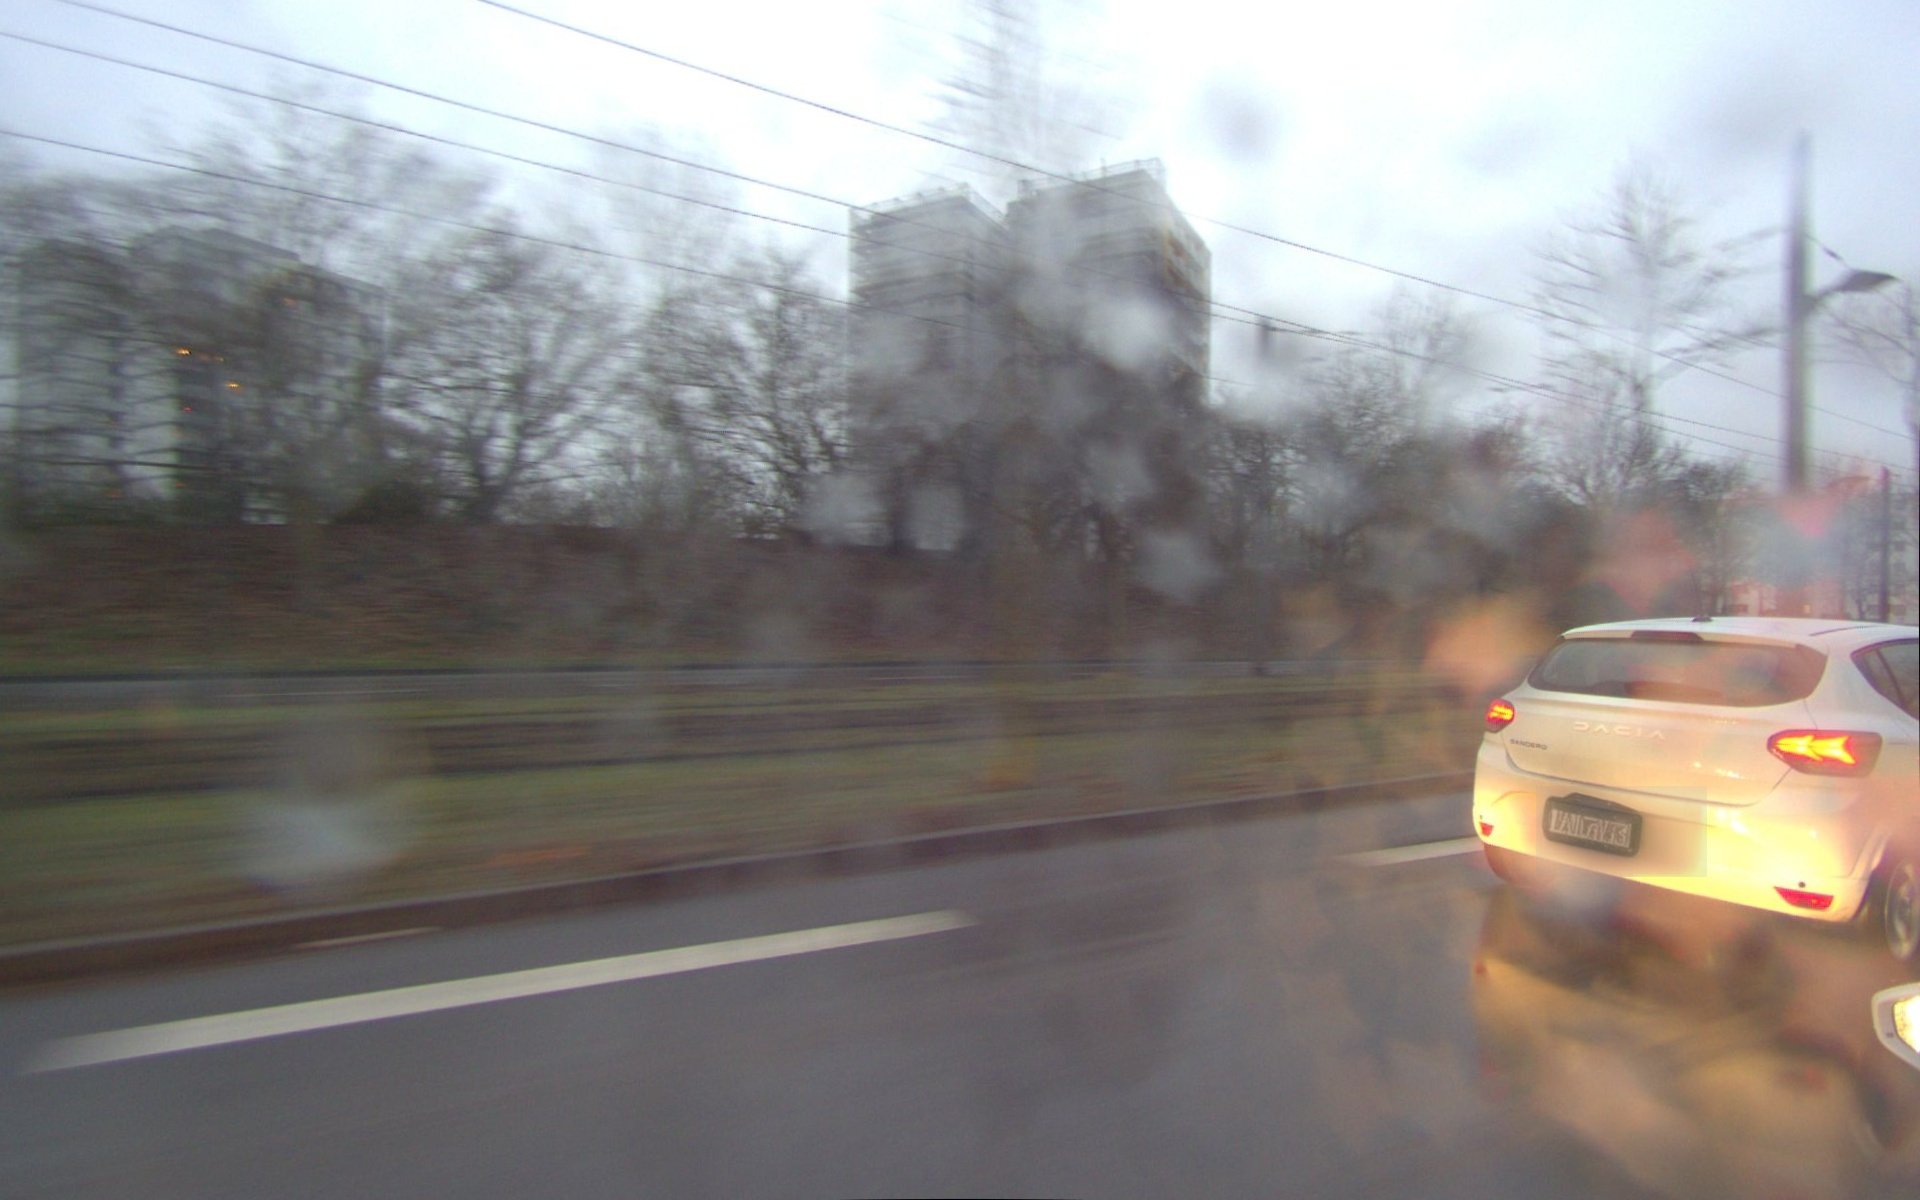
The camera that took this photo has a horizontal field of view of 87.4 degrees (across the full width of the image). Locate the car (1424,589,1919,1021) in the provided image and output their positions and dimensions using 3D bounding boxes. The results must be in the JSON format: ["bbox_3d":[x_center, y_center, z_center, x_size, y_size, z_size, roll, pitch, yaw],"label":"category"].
[{"bbox_3d":[4.525,0.785,5.384,4.087,1.545,1.700,1,-1,-31],"label":"car"}]
